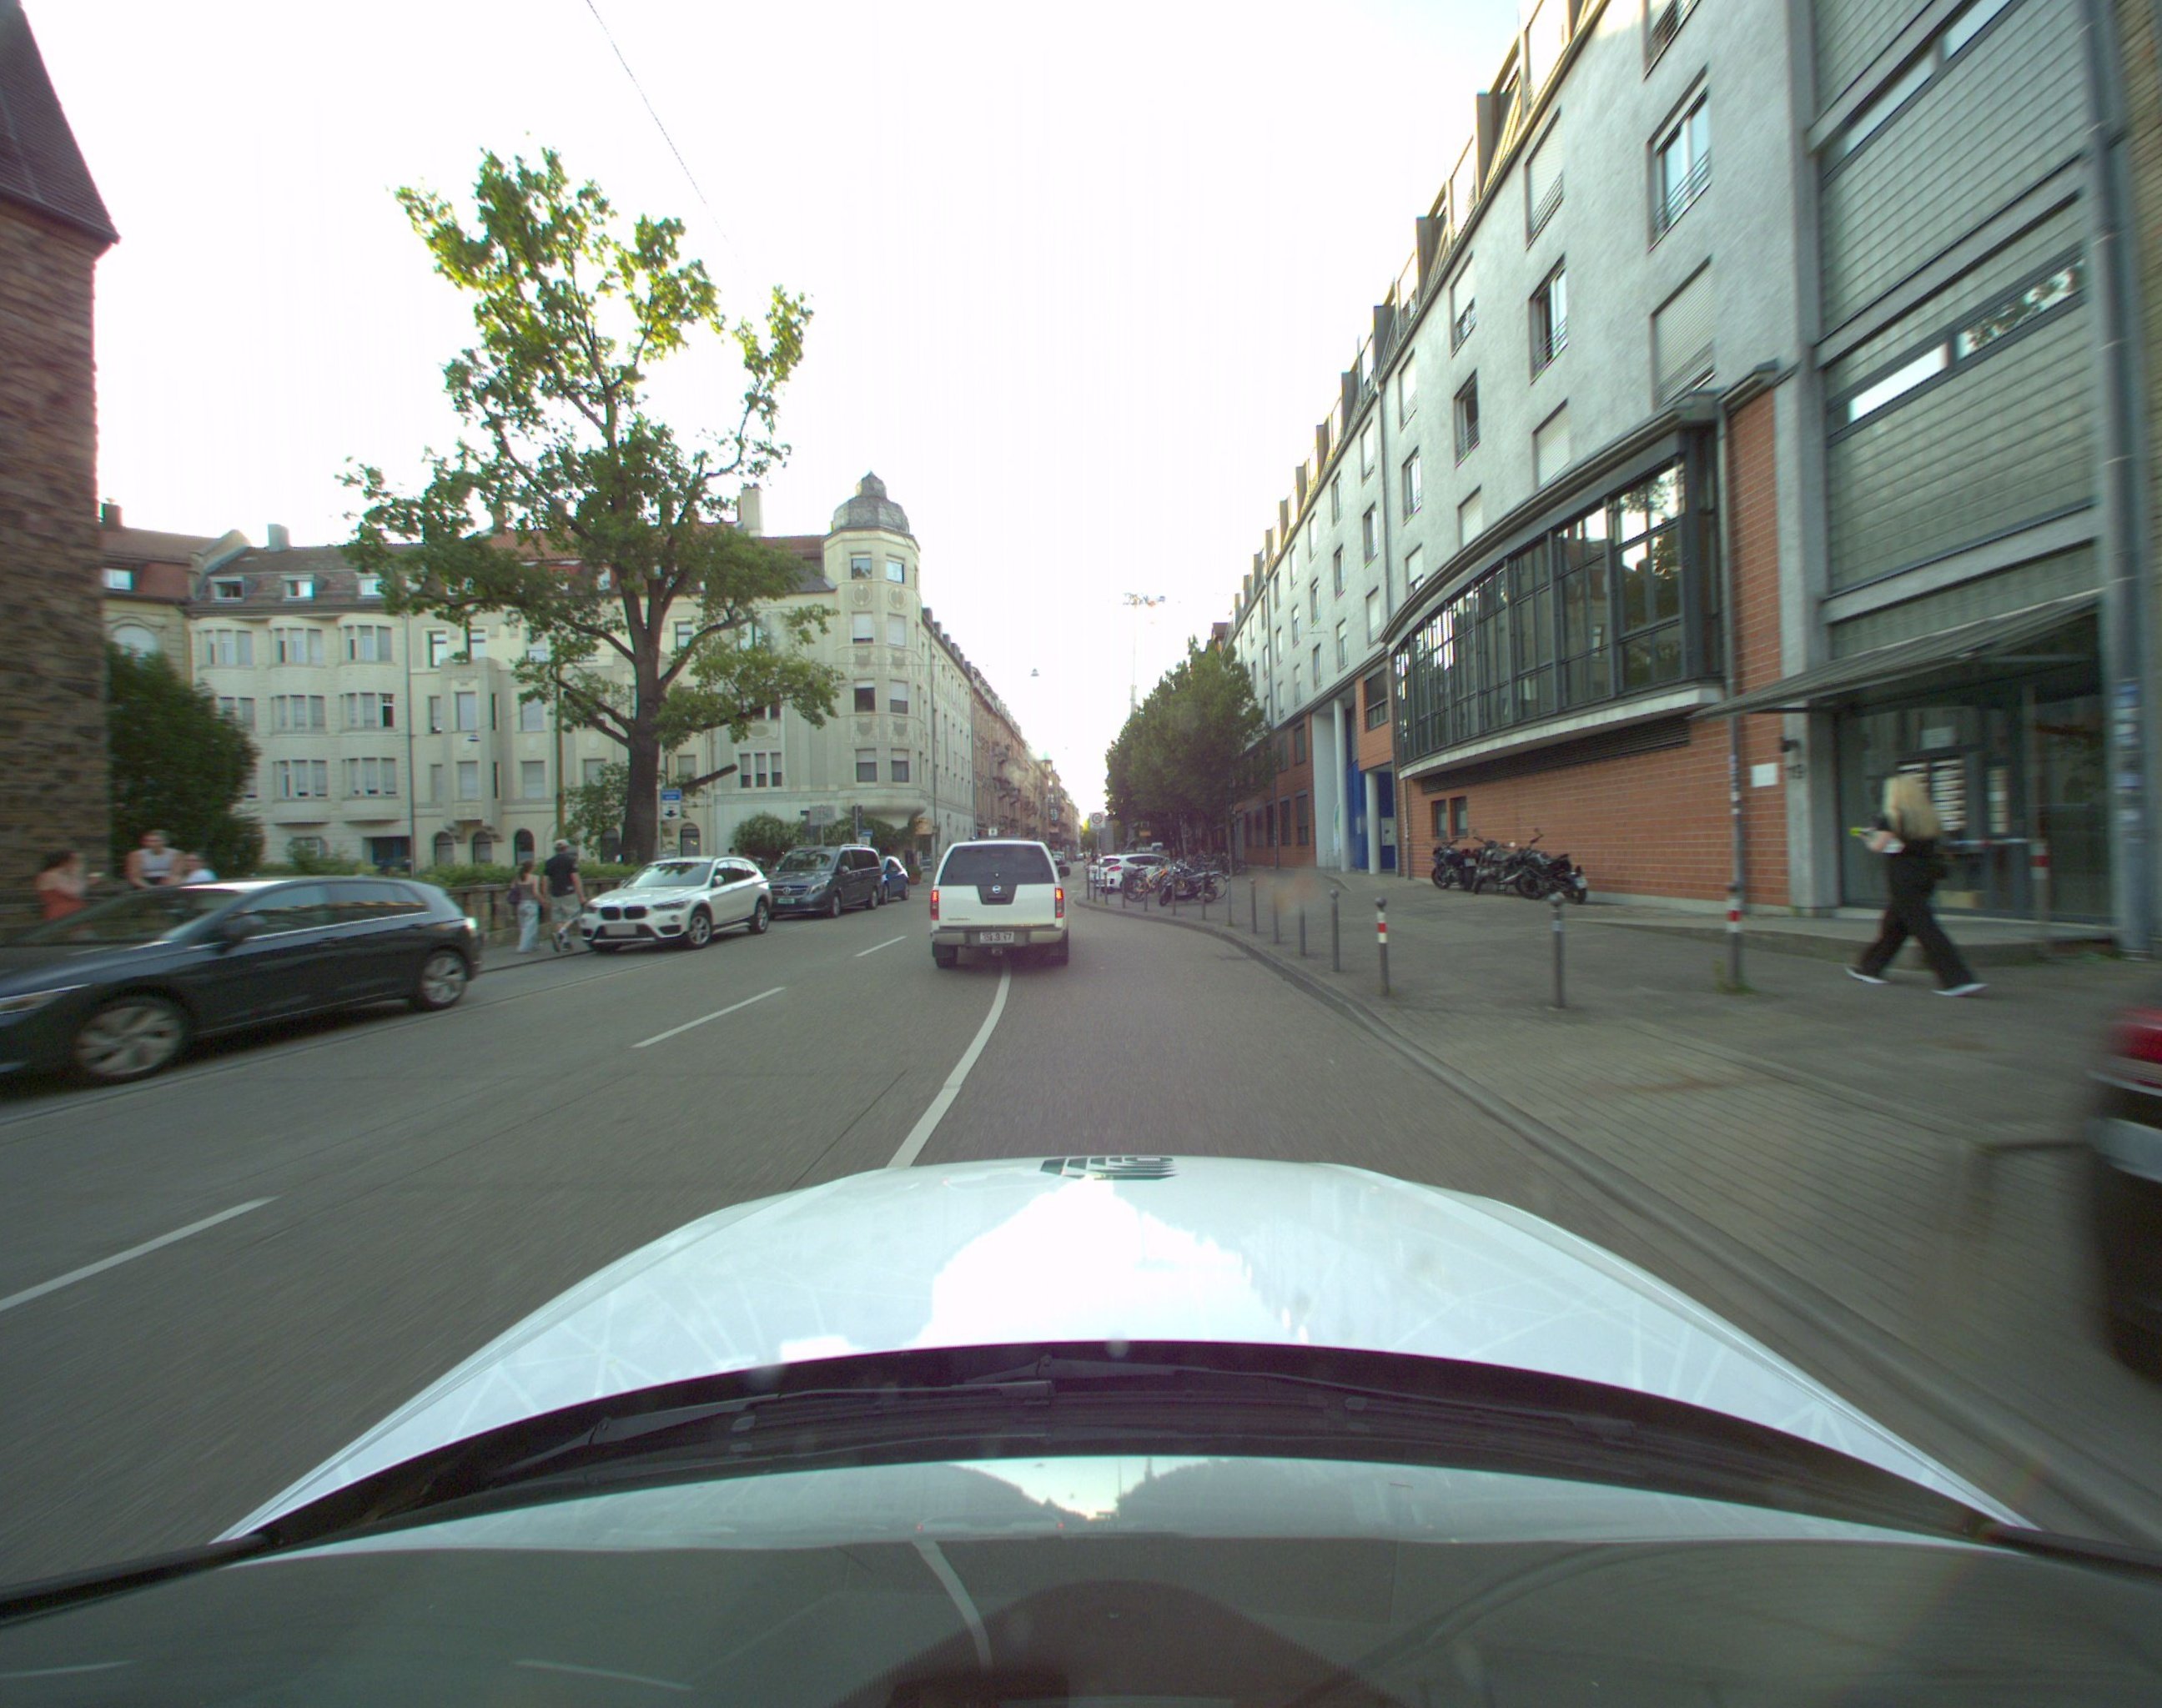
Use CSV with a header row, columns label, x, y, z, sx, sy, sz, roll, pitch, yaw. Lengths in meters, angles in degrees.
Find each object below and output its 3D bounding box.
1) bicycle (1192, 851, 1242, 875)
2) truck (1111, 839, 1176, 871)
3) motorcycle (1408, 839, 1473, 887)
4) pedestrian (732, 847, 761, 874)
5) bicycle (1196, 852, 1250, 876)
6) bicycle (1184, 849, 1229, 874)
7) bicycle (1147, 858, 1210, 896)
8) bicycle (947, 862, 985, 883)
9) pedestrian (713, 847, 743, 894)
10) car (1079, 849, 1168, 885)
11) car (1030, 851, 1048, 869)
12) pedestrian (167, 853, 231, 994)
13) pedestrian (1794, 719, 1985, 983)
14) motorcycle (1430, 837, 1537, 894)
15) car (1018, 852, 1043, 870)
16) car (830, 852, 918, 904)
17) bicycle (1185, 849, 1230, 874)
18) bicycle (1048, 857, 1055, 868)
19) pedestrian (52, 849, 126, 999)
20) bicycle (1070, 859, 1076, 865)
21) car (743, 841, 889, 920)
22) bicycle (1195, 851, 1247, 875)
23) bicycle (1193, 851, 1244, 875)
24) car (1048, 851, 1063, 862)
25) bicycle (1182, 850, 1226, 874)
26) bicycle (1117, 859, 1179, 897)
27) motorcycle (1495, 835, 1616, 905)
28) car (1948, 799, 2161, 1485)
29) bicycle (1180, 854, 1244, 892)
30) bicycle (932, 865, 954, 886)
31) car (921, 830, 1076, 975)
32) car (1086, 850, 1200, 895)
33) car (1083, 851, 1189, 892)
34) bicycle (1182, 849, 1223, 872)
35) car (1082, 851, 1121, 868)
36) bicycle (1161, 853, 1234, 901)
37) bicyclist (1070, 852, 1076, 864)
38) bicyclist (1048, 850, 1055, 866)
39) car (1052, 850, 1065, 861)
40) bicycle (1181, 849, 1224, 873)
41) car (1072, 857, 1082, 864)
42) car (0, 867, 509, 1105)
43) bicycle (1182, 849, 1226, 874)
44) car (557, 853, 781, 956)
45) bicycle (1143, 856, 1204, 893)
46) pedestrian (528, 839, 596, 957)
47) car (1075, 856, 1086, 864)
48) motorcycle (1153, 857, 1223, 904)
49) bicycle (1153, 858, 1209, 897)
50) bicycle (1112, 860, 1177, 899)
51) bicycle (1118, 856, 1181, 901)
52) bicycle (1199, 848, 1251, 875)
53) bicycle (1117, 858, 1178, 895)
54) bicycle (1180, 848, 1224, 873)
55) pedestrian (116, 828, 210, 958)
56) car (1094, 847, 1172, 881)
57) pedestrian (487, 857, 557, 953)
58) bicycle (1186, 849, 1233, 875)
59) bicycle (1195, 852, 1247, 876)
label,x,y,z,sx,sy,sz,roll,pitch,yaw
bicycle,7.192,0.469,43.096,2.523,1.166,0.562,-2,0,4
truck,6.120,0.104,80.544,6.294,2.977,2.265,-1,-3,3
motorcycle,9.005,0.222,20.496,0.586,1.103,2.083,-5,0,-1
pedestrian,-12.723,0.246,30.997,0.704,0.980,0.837,-2,0,0
bicycle,7.053,0.503,40.592,2.523,0.959,0.681,-5,-1,4
bicycle,7.291,0.423,47.561,2.523,1.379,0.600,-2,0,4
bicycle,2.979,0.702,24.932,1.851,1.038,0.402,-4,0,0
bicycle,-6.130,0.987,43.358,2.090,1.095,0.504,-1,1,26
pedestrian,-13.427,0.615,30.971,0.704,1.721,0.837,-2,0,0
car,2.051,0.585,39.009,4.011,1.537,1.620,-2,0,-29
car,-4.475,0.661,87.414,1.553,1.921,3.857,0,0,1
pedestrian,-10.550,0.811,9.752,0.417,1.622,0.542,-1,0,-38
pedestrian,6.652,-0.022,6.752,0.604,2.013,0.858,-4,0,3
motorcycle,8.871,0.248,18.085,0.775,1.139,2.407,-3,0,-11
car,-4.728,0.624,76.446,1.986,1.653,4.001,-1,0,1
car,-6.884,0.751,27.495,1.633,1.555,4.008,-1,0,4
bicycle,7.262,0.426,46.816,2.523,1.379,0.600,-2,0,4
bicycle,-3.002,0.865,83.627,0.612,1.040,1.905,-2,0,2
pedestrian,-11.502,0.784,9.456,0.417,1.674,0.542,-1,0,-38
bicycle,-1.233,1.223,124.367,0.798,0.947,2.004,-1,0,0
car,-7.038,0.638,22.365,1.985,1.866,5.294,-1,0,3
bicycle,7.192,0.461,41.884,2.523,1.166,0.562,-2,0,4
bicycle,7.157,0.474,42.485,2.523,1.166,0.562,-2,0,4
car,-3.667,0.360,116.846,1.784,1.530,4.002,-1,0,2
bicycle,7.367,0.466,48.979,2.523,1.379,0.600,-2,0,4
bicycle,2.079,0.733,25.388,1.851,1.066,0.445,-4,0,0
motorcycle,8.665,0.264,15.028,0.797,1.139,2.441,-4,0,1
car,4.374,0.562,2.297,4.082,1.492,1.707,-2,0,-30
bicycle,4.119,0.599,25.677,1.851,1.066,0.524,-4,0,0
bicycle,-7.167,1.113,42.318,0.420,1.012,1.726,-1,1,15
car,-1.080,0.609,12.587,1.928,1.794,4.619,-1,0,-1
car,2.377,0.670,31.143,4.010,1.506,1.754,-2,0,-28
car,2.279,0.708,33.683,4.013,1.473,1.857,-2,-1,-31
bicycle,7.706,0.407,51.708,2.523,1.379,0.600,-2,0,4
car,2.276,0.613,91.408,4.172,1.780,1.823,-1,0,7
bicycle,3.218,0.637,22.549,1.852,1.146,0.659,-5,0,1
bicyclist,-1.246,0.578,124.316,0.798,1.849,0.943,-1,0,-1
bicyclist,-3.012,0.415,83.640,0.600,1.684,1.143,-2,0,2
car,-3.406,0.199,122.827,1.703,1.530,4.002,-1,0,2
bicycle,7.396,0.402,49.687,2.523,1.379,0.600,-2,0,4
car,-0.818,1.536,185.191,1.838,1.552,4.361,-1,0,5
car,-7.605,0.892,7.236,1.776,1.435,4.319,-2,0,3
bicycle,7.282,0.447,48.259,2.523,1.379,0.600,-2,0,4
car,-7.402,0.806,15.246,1.865,1.592,4.468,-2,0,0
bicycle,3.030,0.674,26.851,1.905,1.066,0.524,-4,0,0
pedestrian,-8.736,0.719,13.742,0.580,1.905,0.802,-2,0,-2
car,-0.111,1.201,169.737,1.838,1.552,4.360,-1,0,4
motorcycle,2.800,0.689,21.406,1.643,1.101,0.645,-4,0,-7
bicycle,2.916,0.689,23.843,1.535,1.038,0.472,-4,0,0
bicycle,1.888,0.753,24.370,1.851,1.038,0.472,-4,0,0
bicycle,1.954,0.689,23.300,1.702,1.176,0.472,-4,0,0
bicycle,6.960,0.381,39.386,2.336,1.099,0.681,-5,-1,4
bicycle,2.123,0.712,26.007,1.851,1.066,0.445,-4,0,0
bicycle,7.457,0.405,50.408,2.523,1.244,0.600,-7,-1,4
pedestrian,-11.332,0.470,10.057,0.644,1.545,0.589,-1,0,25
car,2.668,0.491,41.773,3.618,1.580,1.699,-2,0,-32
pedestrian,-9.384,0.834,13.693,0.580,1.552,0.839,-1,0,-2
bicycle,7.264,0.424,46.101,2.523,1.379,0.600,-2,0,4
bicycle,7.083,0.504,41.224,2.523,1.166,0.562,-2,0,4
